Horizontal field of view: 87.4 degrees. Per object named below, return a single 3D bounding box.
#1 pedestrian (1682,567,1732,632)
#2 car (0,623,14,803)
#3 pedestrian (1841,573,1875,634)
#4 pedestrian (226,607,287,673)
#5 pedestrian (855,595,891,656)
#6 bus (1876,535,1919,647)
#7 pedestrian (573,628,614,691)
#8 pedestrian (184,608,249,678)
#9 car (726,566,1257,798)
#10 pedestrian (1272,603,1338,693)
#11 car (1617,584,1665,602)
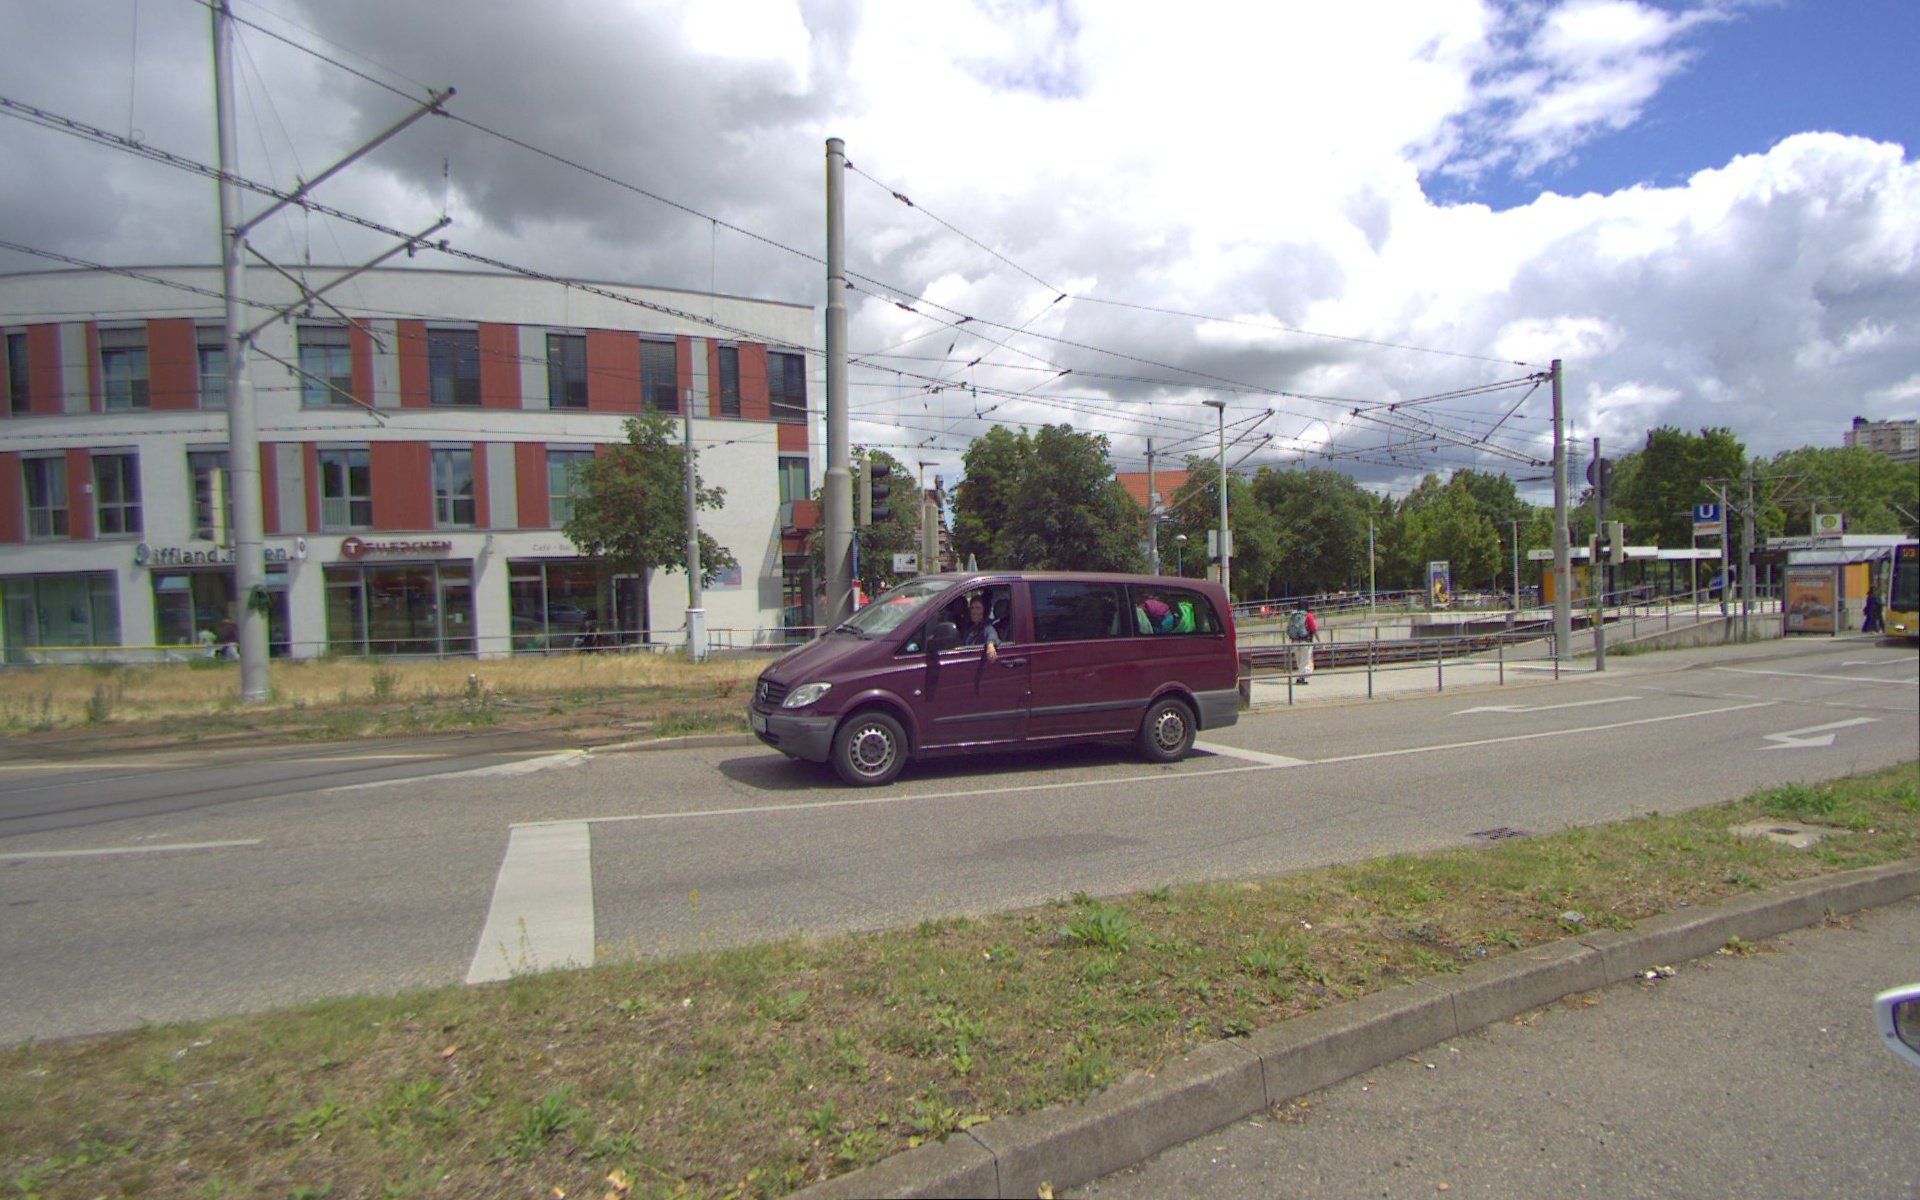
[{"bbox_3d":[23.991,-0.012,32.262,1.017,2.040,0.966,-1,0,-31],"label":"pedestrian"},{"bbox_3d":[-9.876,0.873,6.658,4.966,1.429,1.798,0,-1,-14],"label":"car"},{"bbox_3d":[30.641,0.134,34.266,0.821,2.040,0.697,-1,-1,-38],"label":"pedestrian"},{"bbox_3d":[-22.401,1.250,32.019,1.119,2.040,1.255,-1,-1,-10],"label":"pedestrian"},{"bbox_3d":[-2.535,0.744,29.352,0.659,1.758,0.832,-1,0,35],"label":"pedestrian"},{"bbox_3d":[31.066,-0.299,30.499,9.602,3.151,2.709,-1,0,-34],"label":"bus"},{"bbox_3d":[-12.253,1.959,33.614,1.120,2.040,1.254,-1,-1,-13],"label":"pedestrian"},{"bbox_3d":[-22.558,1.283,30.512,1.119,2.040,1.255,-1,-1,-10],"label":"pedestrian"},{"bbox_3d":[0.390,0.662,10.050,5.008,1.846,1.986,0,0,-28],"label":"car"},{"bbox_3d":[6.296,0.847,18.331,0.827,1.561,0.794,0,2,-36],"label":"pedestrian"},{"bbox_3d":[69.938,-0.696,103.248,2.032,1.728,3.613,-3,2,-35],"label":"car"}]
